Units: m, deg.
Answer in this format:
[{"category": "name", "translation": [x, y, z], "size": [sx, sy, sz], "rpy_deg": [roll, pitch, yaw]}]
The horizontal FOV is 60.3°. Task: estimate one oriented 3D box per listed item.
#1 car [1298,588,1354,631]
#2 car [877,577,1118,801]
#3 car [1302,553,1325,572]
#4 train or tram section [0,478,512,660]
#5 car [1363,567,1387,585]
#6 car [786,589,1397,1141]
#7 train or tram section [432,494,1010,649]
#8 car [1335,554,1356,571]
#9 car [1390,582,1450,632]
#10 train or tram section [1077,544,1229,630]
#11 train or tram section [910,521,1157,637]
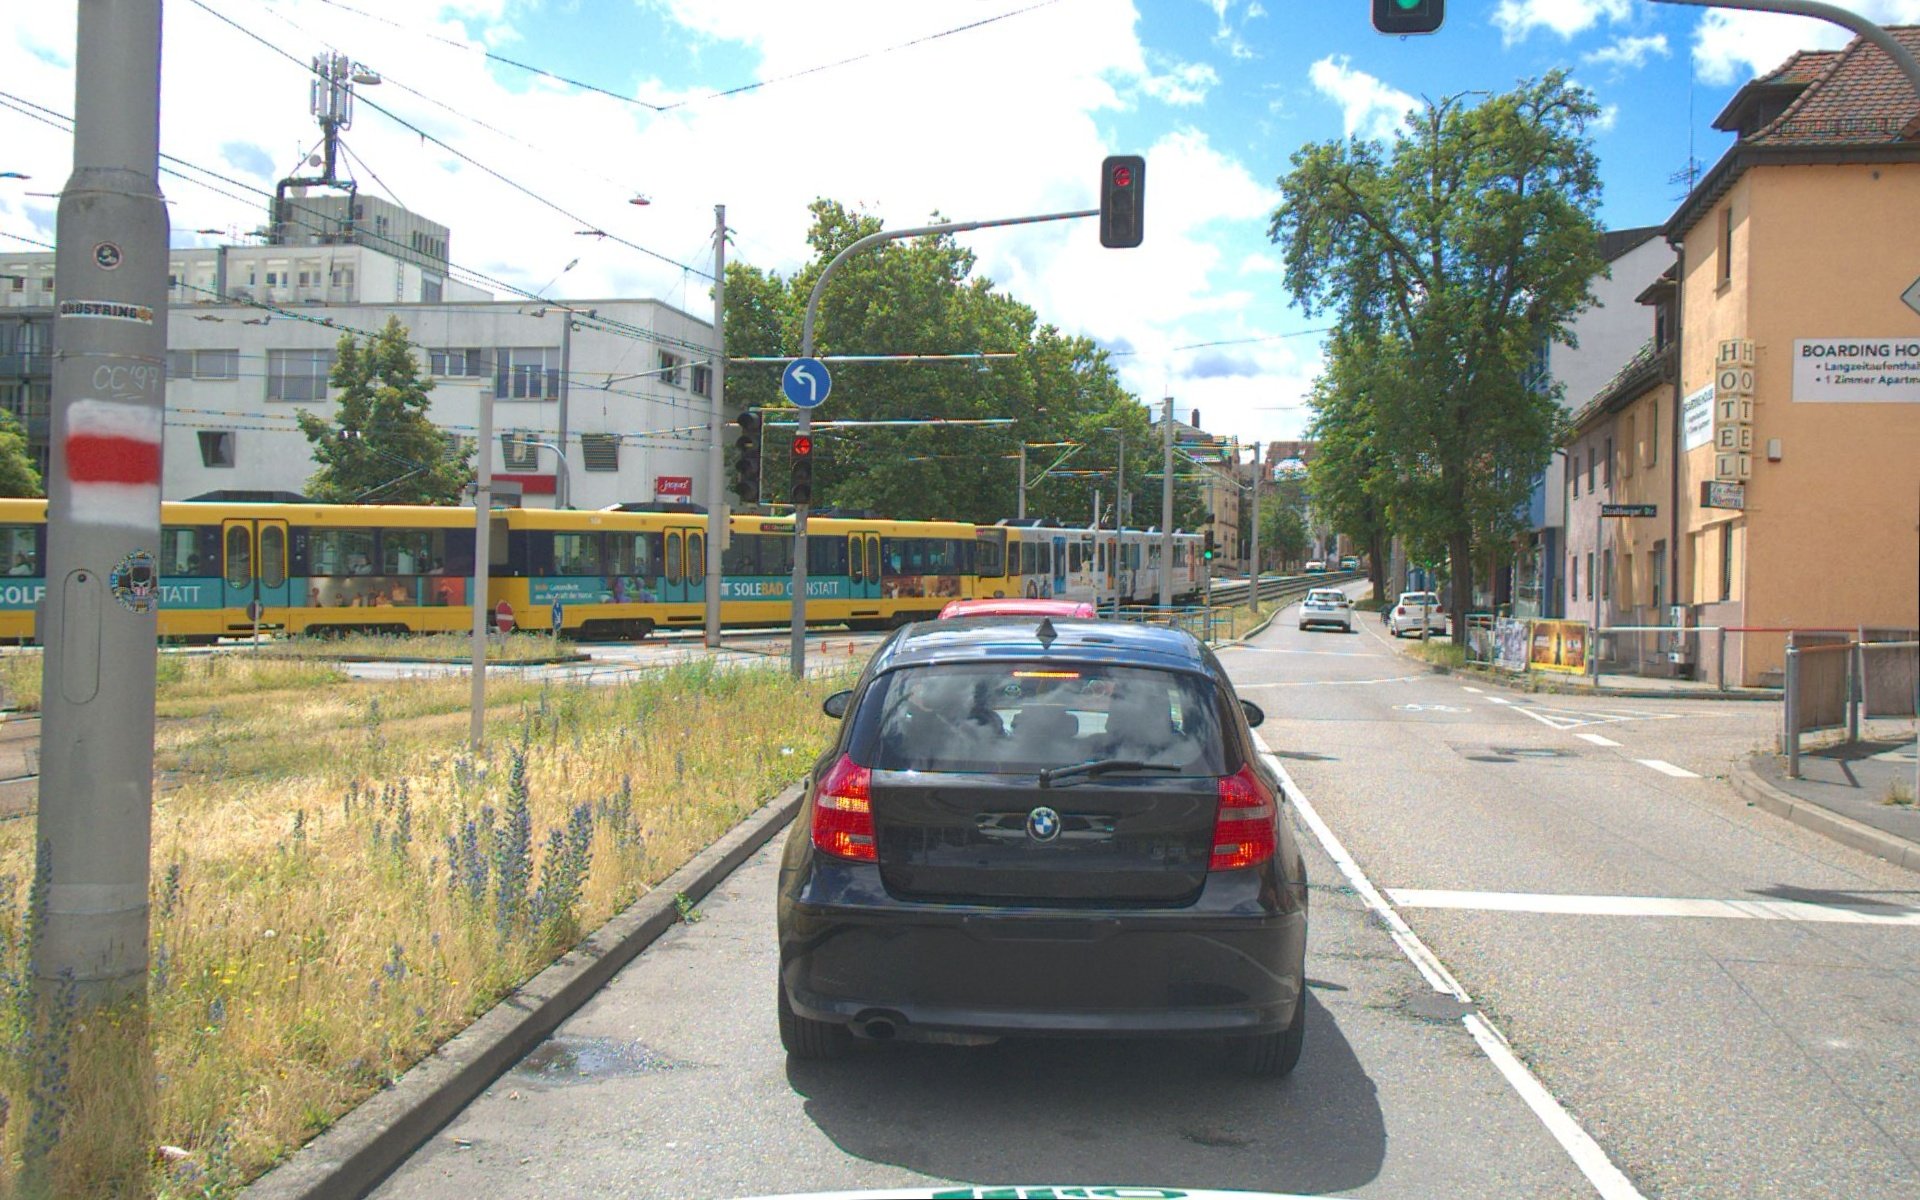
[{"category": "car", "translation": [13.135, 0.320, 59.569], "size": [1.776, 1.494, 4.004], "rpy_deg": [0, 0, 10]}, {"category": "car", "translation": [0.438, 0.622, 13.126], "size": [1.590, 1.499, 4.002], "rpy_deg": [-1, -1, 6]}, {"category": "car", "translation": [40.354, -4.254, 188.503], "size": [1.952, 2.049, 4.000], "rpy_deg": [-1, -1, 21]}, {"category": "train or tram section", "translation": [-20.269, -0.658, 38.668], "size": [18.620, 3.988, 3.726], "rpy_deg": [0, -1, -29]}, {"category": "car", "translation": [35.963, -2.068, 143.233], "size": [1.777, 1.494, 4.002], "rpy_deg": [3, 1, 16]}, {"category": "car", "translation": [0.274, 0.736, 6.525], "size": [1.667, 1.477, 3.998], "rpy_deg": [-1, -1, -3]}, {"category": "train or tram section", "translation": [-6.138, -0.670, 50.247], "size": [3.692, 3.896, 20.040], "rpy_deg": [-1, -1, 40]}, {"category": "car", "translation": [48.452, -4.715, 207.889], "size": [1.952, 2.049, 4.000], "rpy_deg": [-1, -1, 21]}, {"category": "car", "translation": [15.650, 0.247, 56.361], "size": [1.749, 1.624, 4.003], "rpy_deg": [-1, -1, 13]}, {"category": "train or tram section", "translation": [10.395, -0.517, 85.609], "size": [3.671, 3.881, 20.057], "rpy_deg": [-1, -1, 19]}, {"category": "train or tram section", "translation": [3.644, -0.641, 66.974], "size": [3.672, 3.947, 20.636], "rpy_deg": [-1, -1, 21]}]
